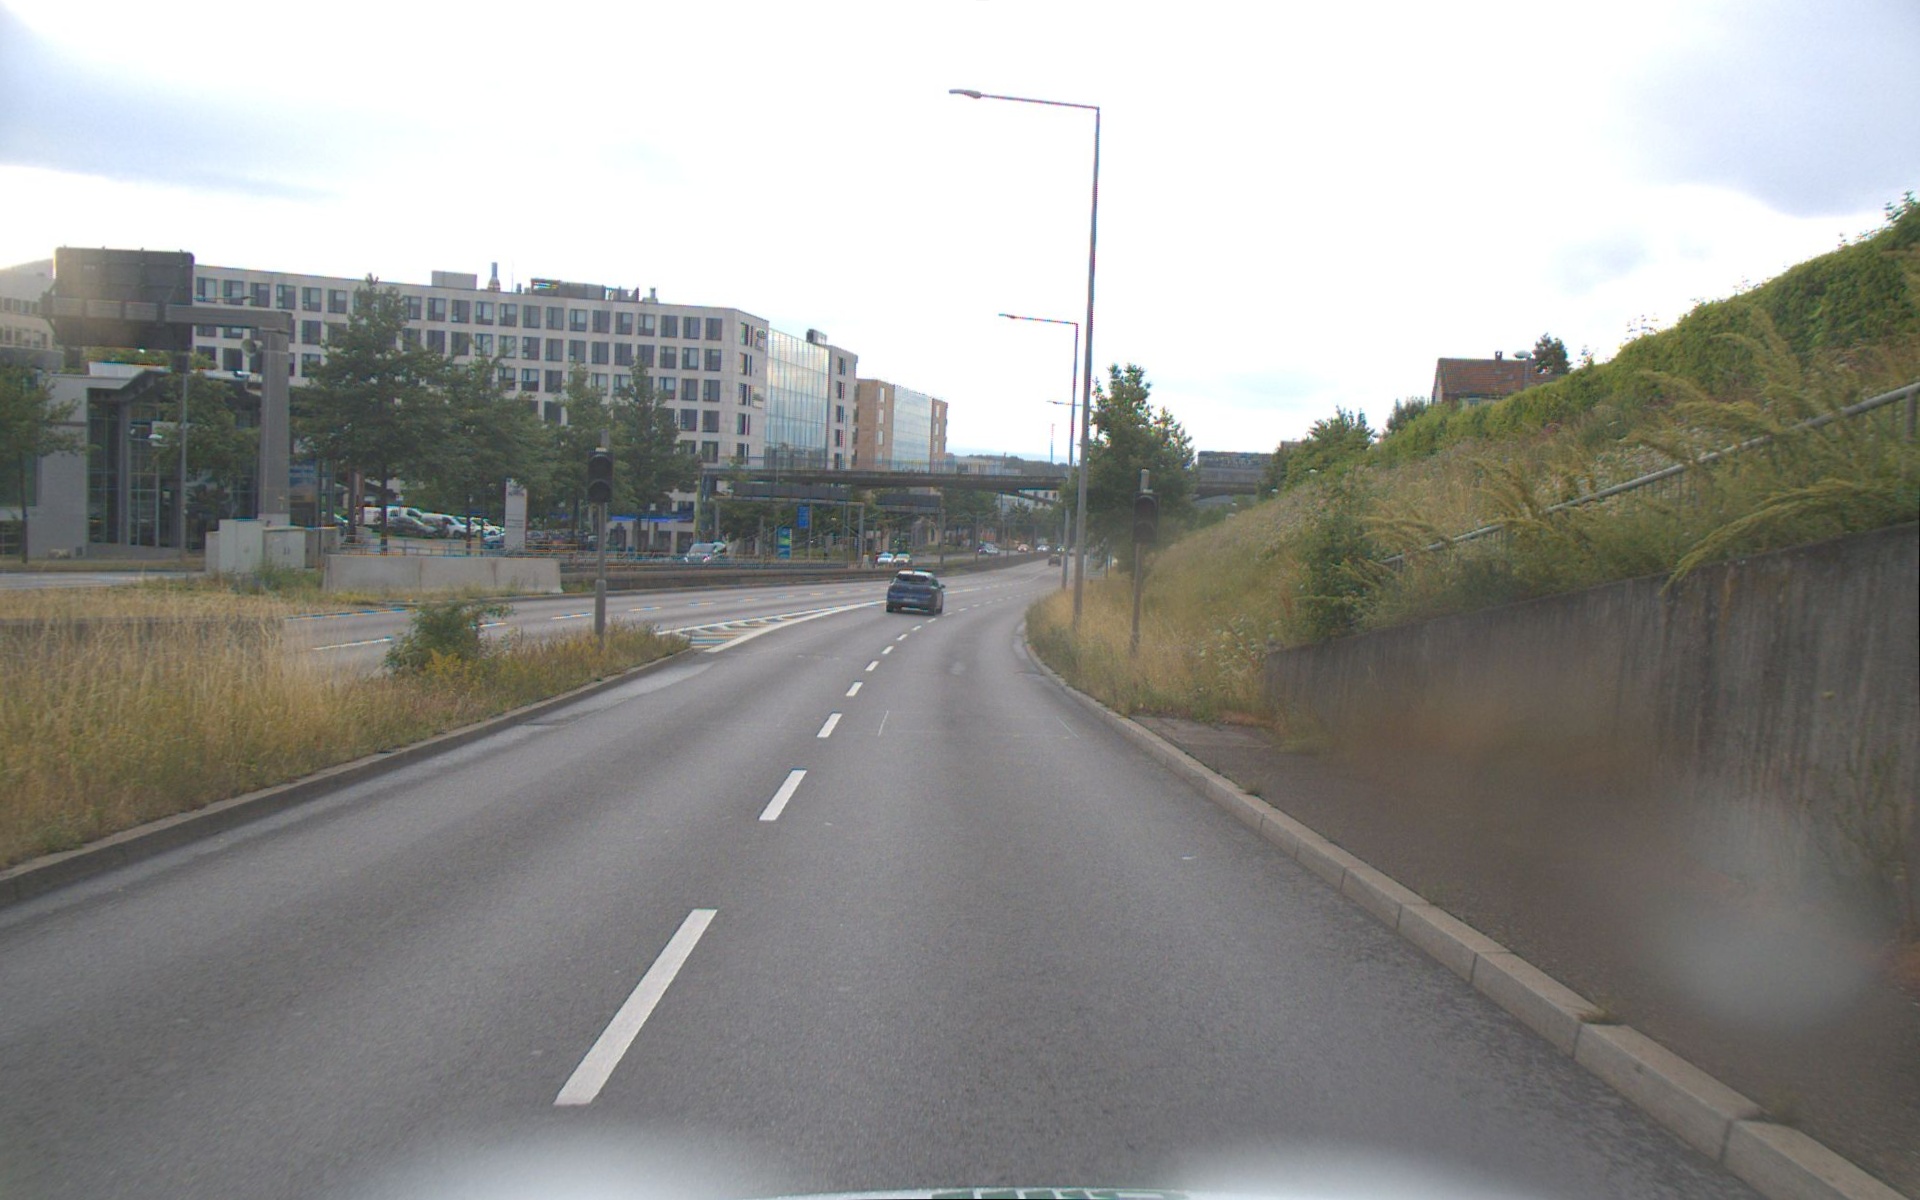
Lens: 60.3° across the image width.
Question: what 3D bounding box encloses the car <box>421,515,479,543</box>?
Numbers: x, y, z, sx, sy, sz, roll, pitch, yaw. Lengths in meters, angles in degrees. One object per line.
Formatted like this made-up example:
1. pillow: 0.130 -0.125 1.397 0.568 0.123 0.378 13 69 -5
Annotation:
1. car: -41.396 -5.798 134.260 3.904 1.907 2.003 6 4 11

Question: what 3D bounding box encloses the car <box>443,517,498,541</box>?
1. car: -41.361 -6.015 139.677 3.904 1.678 2.003 6 4 11

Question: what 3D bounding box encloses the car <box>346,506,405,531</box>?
1. car: -47.267 -6.582 133.782 3.904 1.678 2.002 5 4 4

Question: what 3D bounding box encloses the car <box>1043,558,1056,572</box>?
1. car: 13.069 -5.101 241.300 1.824 1.779 4.004 5 4 3

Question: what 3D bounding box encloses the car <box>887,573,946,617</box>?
1. car: -1.528 -0.202 58.855 1.712 1.444 3.481 1 2 4

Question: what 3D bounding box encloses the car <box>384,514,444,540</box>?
1. car: -42.639 -5.712 129.301 3.904 1.678 2.002 5 4 4

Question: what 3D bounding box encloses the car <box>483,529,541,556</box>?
1. car: -34.073 -4.381 125.755 3.934 1.679 1.987 4 2 -24

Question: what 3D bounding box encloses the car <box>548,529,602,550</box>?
1. car: -32.153 -5.046 138.172 3.904 1.377 1.851 5 2 8

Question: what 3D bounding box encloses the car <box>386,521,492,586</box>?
1. car: -15.173 -1.385 48.313 1.653 1.617 3.553 5 4 4

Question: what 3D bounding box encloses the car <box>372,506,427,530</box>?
1. car: -47.431 -6.981 139.992 3.905 1.678 1.823 5 4 3
